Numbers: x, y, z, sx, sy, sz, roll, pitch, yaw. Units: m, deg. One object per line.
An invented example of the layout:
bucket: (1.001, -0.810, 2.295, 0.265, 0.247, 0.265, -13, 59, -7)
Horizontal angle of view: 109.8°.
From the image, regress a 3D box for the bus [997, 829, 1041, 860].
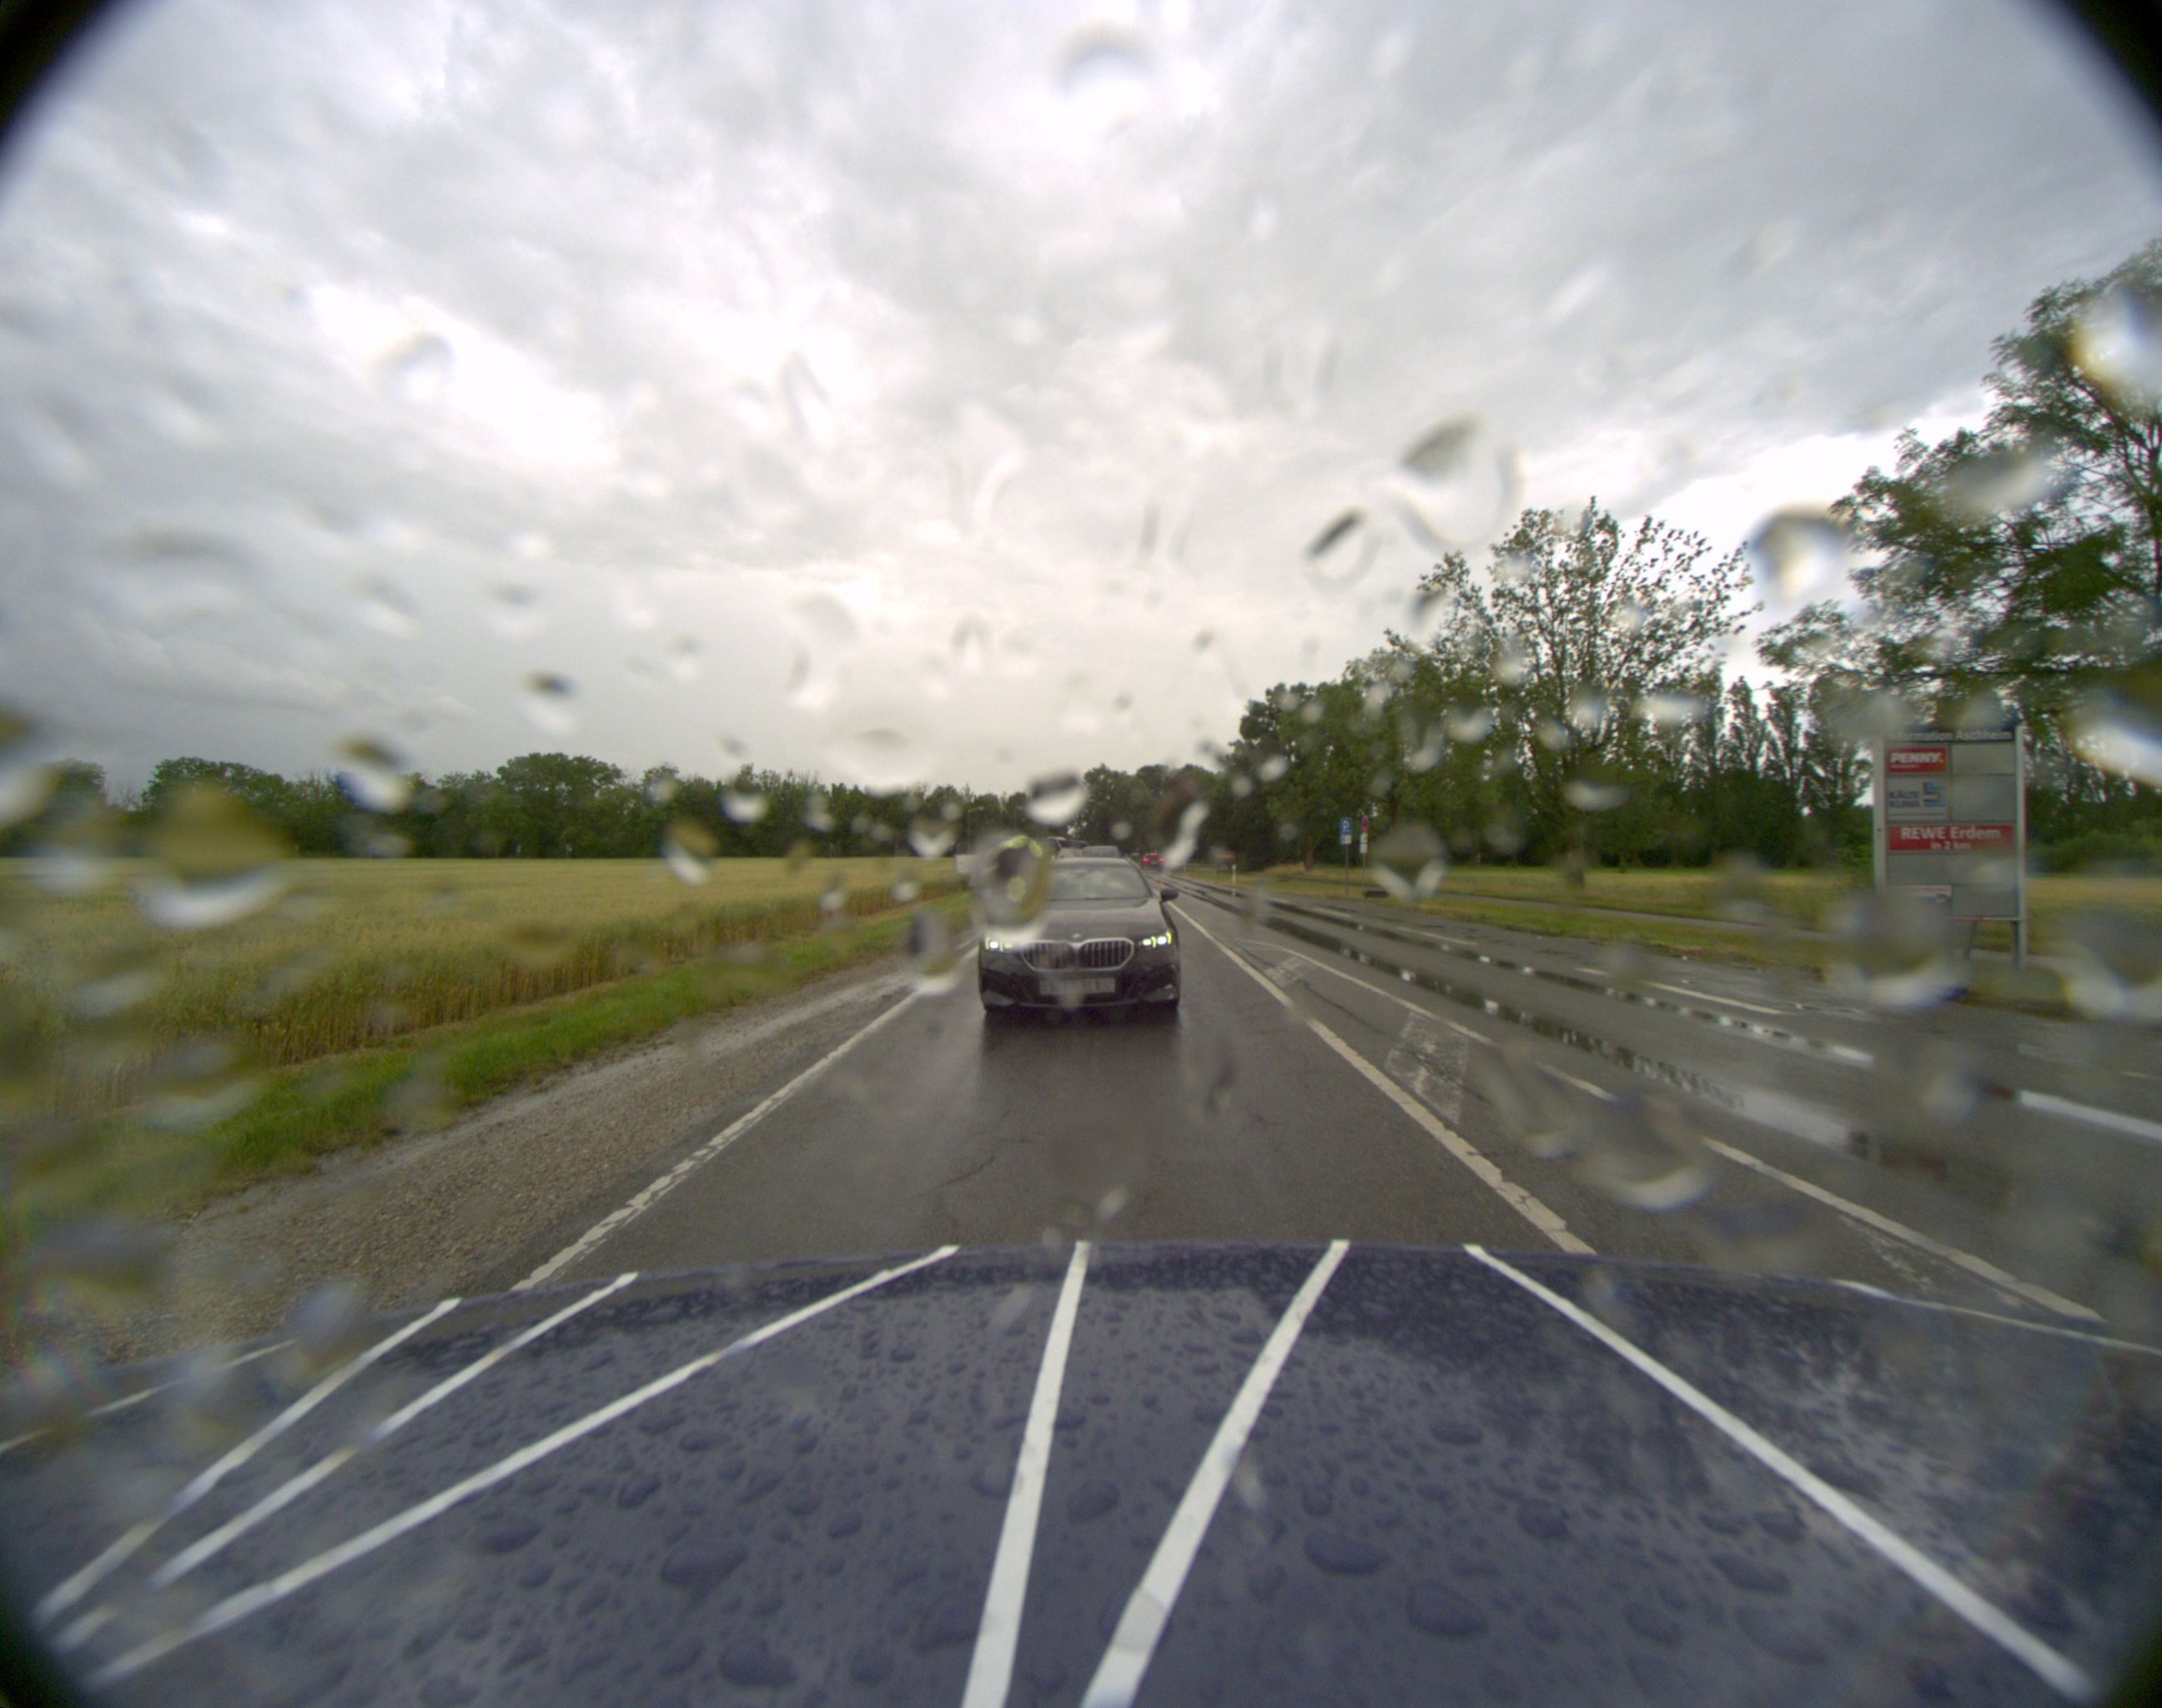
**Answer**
bus: (-7.729, -1.251, 97.513, 2.994, 3.665, 14.300, 1, 1, 6)

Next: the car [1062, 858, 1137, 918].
car: (0.537, 0.892, 21.625, 1.891, 1.482, 4.192, -2, 0, 2)

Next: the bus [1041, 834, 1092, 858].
bus: (-1.999, -1.136, 114.558, 2.851, 3.417, 14.314, 1, 1, 19)

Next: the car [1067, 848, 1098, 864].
car: (0.116, 0.206, 78.189, 1.894, 1.522, 4.495, -2, 0, -18)

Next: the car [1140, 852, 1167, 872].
car: (6.080, 0.658, 64.167, 1.921, 1.622, 4.357, -1, 1, 1)

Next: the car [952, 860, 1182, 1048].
car: (-0.047, 0.854, 8.378, 1.891, 1.484, 4.036, -1, 0, 2)

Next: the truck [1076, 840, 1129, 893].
truck: (0.906, 0.497, 34.453, 2.075, 2.050, 5.769, -4, 0, 0)
